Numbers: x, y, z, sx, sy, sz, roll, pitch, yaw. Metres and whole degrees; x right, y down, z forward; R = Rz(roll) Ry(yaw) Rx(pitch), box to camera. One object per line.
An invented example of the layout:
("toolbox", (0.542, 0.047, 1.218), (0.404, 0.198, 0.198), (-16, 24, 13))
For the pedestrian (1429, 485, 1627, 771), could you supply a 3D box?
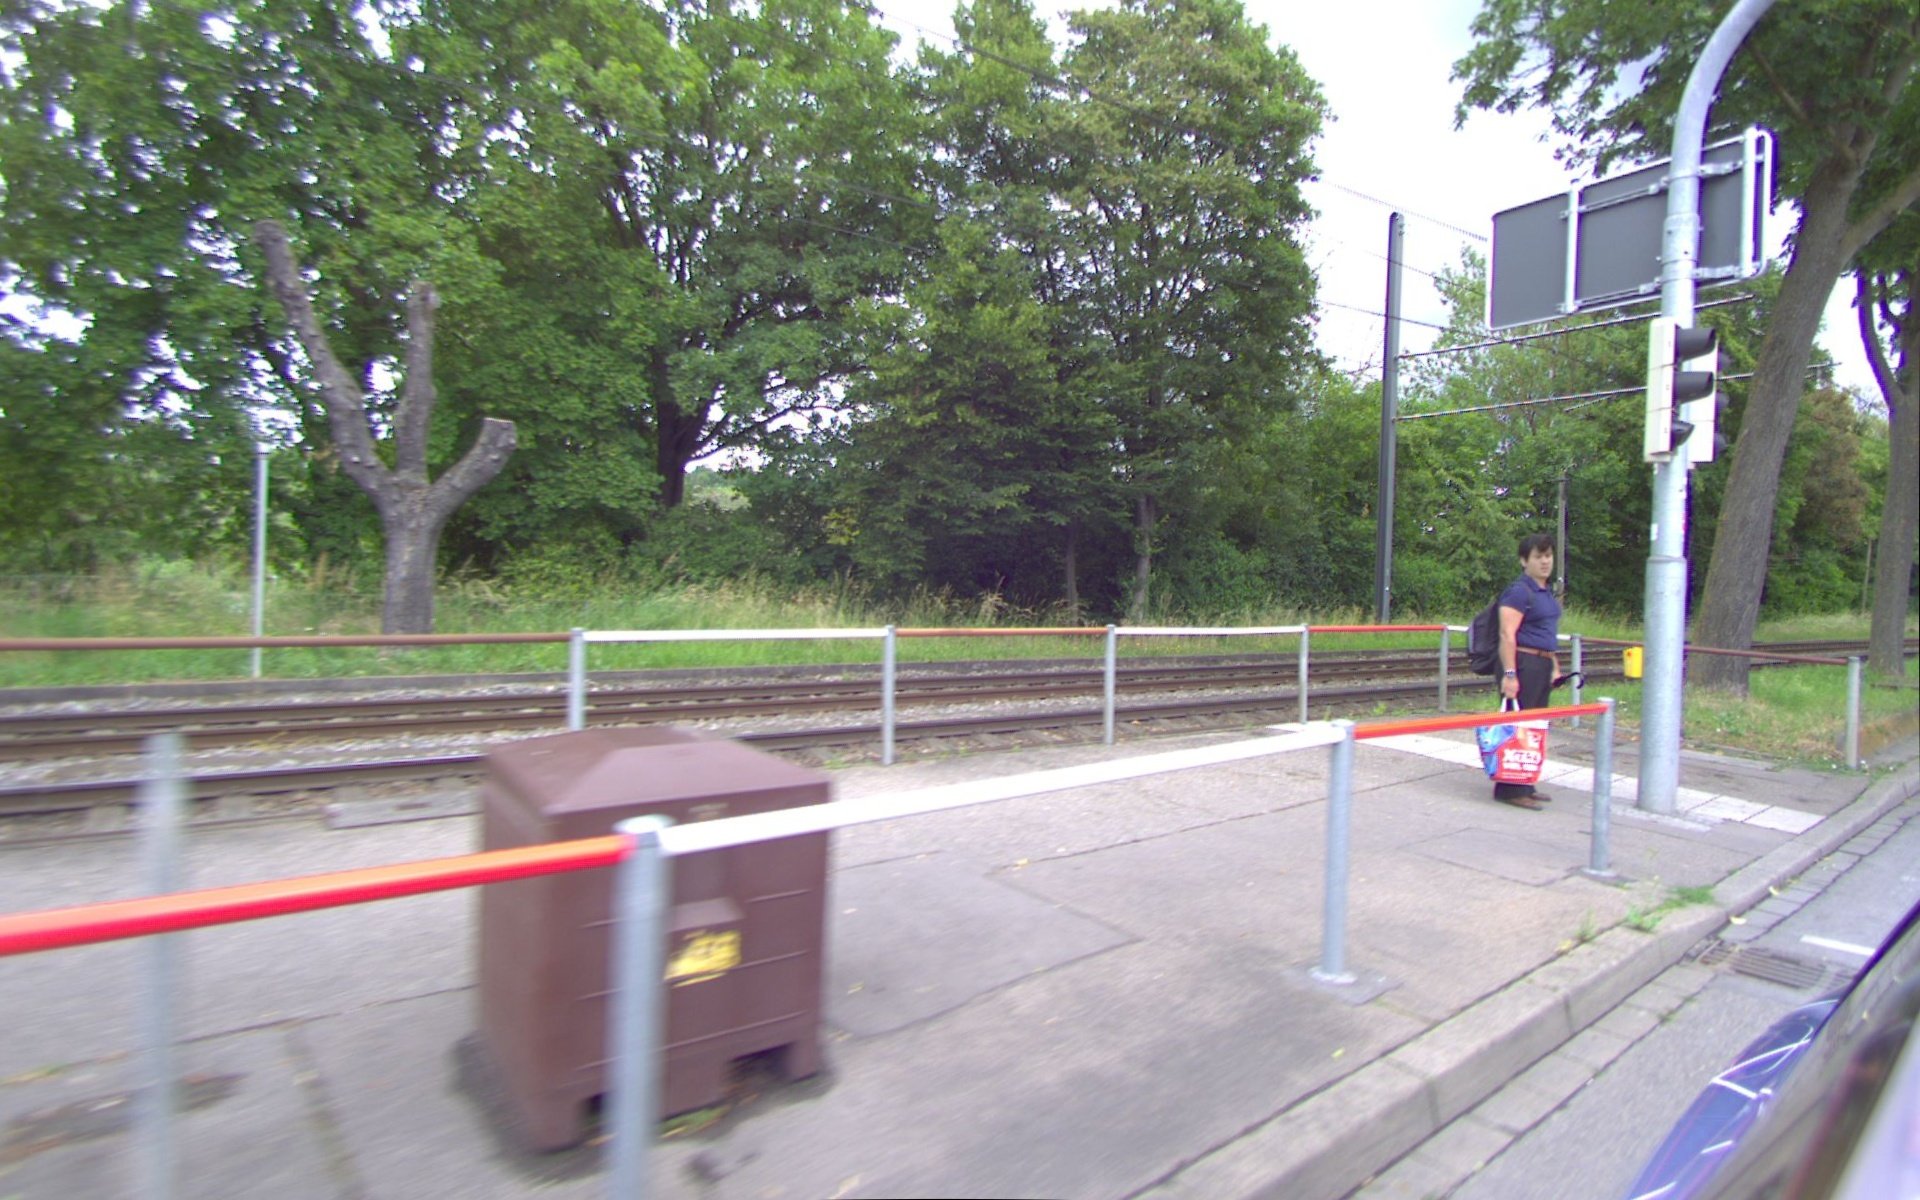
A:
("pedestrian", (3.772, 0.155, 6.749), (0.823, 1.758, 0.755), (1, 3, -32))
